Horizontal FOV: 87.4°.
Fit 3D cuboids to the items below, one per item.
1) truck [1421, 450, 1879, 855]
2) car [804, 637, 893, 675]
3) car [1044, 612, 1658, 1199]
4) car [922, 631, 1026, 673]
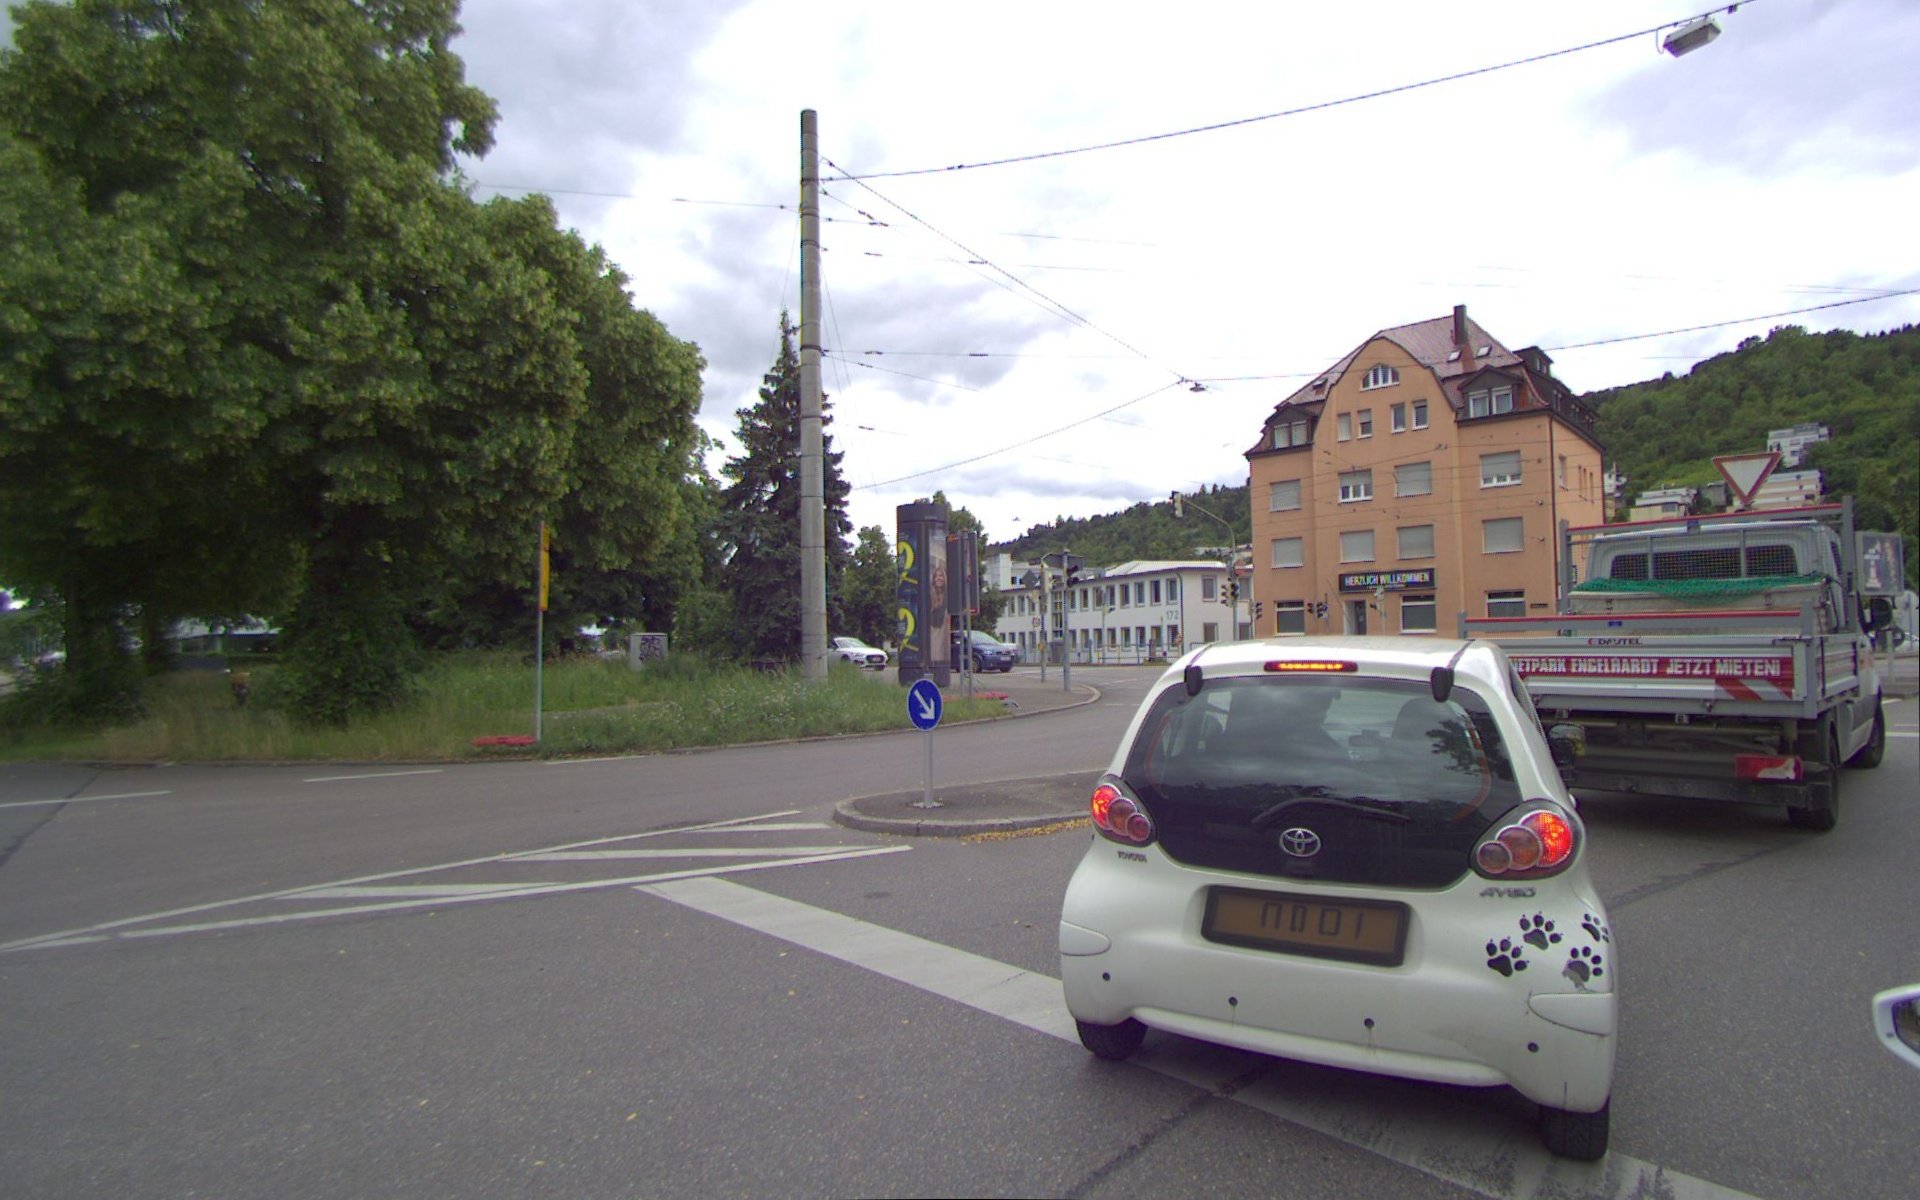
[{"bbox_3d":[6.369,0.342,8.891,5.617,2.453,2.291,-1,-2,-45],"label":"truck"},{"bbox_3d":[-4.676,2.336,41.754,1.734,1.445,4.120,0,-2,-39],"label":"car"},{"bbox_3d":[1.773,0.809,4.278,1.569,1.439,3.368,2,0,29],"label":"car"},{"bbox_3d":[0.472,1.875,36.089,1.736,1.410,3.659,0,-3,-41],"label":"car"}]
